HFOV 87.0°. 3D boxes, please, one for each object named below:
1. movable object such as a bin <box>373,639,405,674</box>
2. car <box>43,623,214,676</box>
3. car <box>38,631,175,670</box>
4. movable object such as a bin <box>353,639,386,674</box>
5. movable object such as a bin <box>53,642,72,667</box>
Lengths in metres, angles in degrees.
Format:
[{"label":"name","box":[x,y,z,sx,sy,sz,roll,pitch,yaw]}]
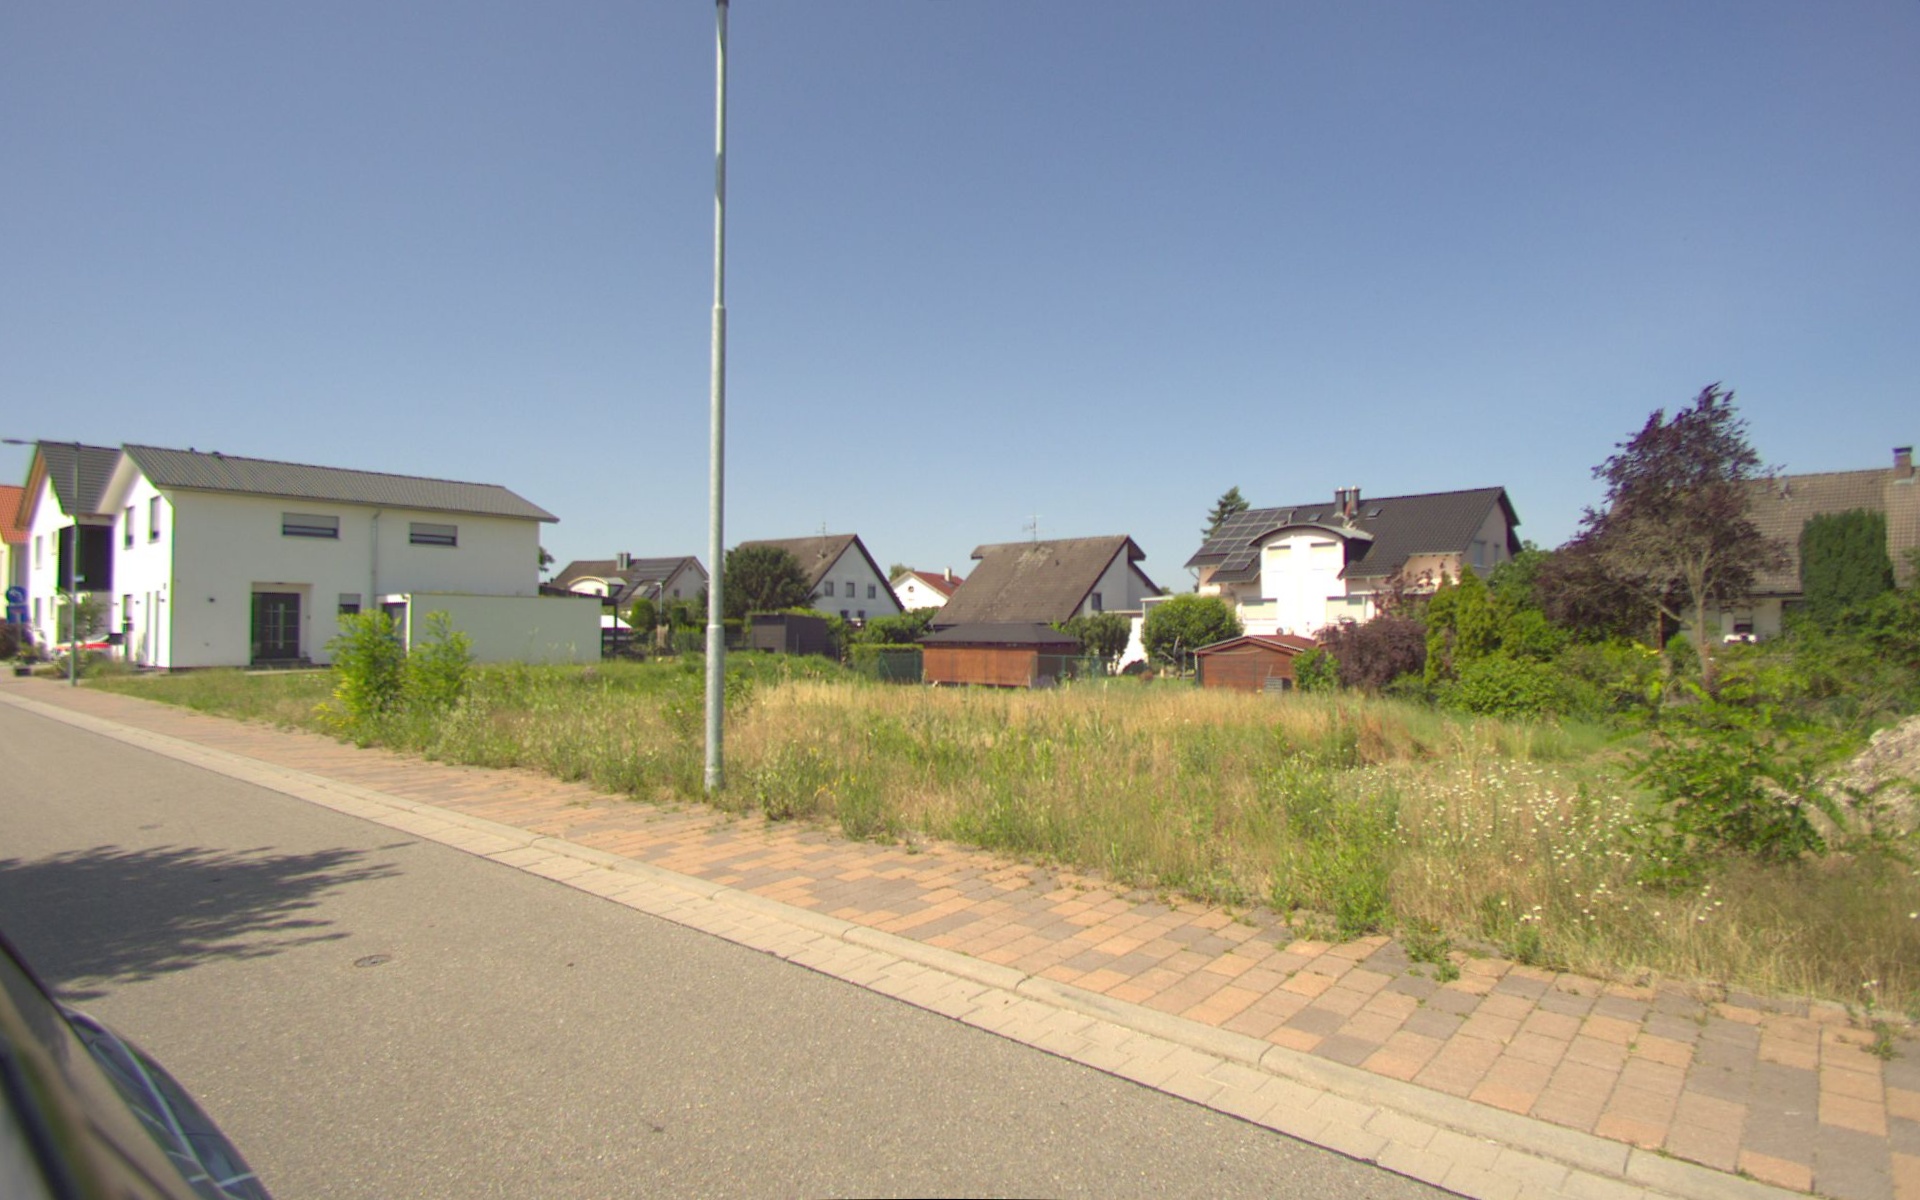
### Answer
[{"label":"movable object such as a bin","box":[-18.839,1.857,33.371,0.807,1.107,0.663,-2,-4,42]},{"label":"car","box":[-31.453,1.855,38.403,1.936,1.889,4.690,-1,-3,38]},{"label":"car","box":[-35.980,2.127,42.750,1.741,1.574,4.115,-2,-3,35]},{"label":"movable object such as a bin","box":[-19.146,1.841,32.817,0.784,1.107,0.653,-2,-4,40]},{"label":"movable object such as a bin","box":[-39.033,2.367,43.992,0.600,1.100,0.494,-3,-3,36]}]
